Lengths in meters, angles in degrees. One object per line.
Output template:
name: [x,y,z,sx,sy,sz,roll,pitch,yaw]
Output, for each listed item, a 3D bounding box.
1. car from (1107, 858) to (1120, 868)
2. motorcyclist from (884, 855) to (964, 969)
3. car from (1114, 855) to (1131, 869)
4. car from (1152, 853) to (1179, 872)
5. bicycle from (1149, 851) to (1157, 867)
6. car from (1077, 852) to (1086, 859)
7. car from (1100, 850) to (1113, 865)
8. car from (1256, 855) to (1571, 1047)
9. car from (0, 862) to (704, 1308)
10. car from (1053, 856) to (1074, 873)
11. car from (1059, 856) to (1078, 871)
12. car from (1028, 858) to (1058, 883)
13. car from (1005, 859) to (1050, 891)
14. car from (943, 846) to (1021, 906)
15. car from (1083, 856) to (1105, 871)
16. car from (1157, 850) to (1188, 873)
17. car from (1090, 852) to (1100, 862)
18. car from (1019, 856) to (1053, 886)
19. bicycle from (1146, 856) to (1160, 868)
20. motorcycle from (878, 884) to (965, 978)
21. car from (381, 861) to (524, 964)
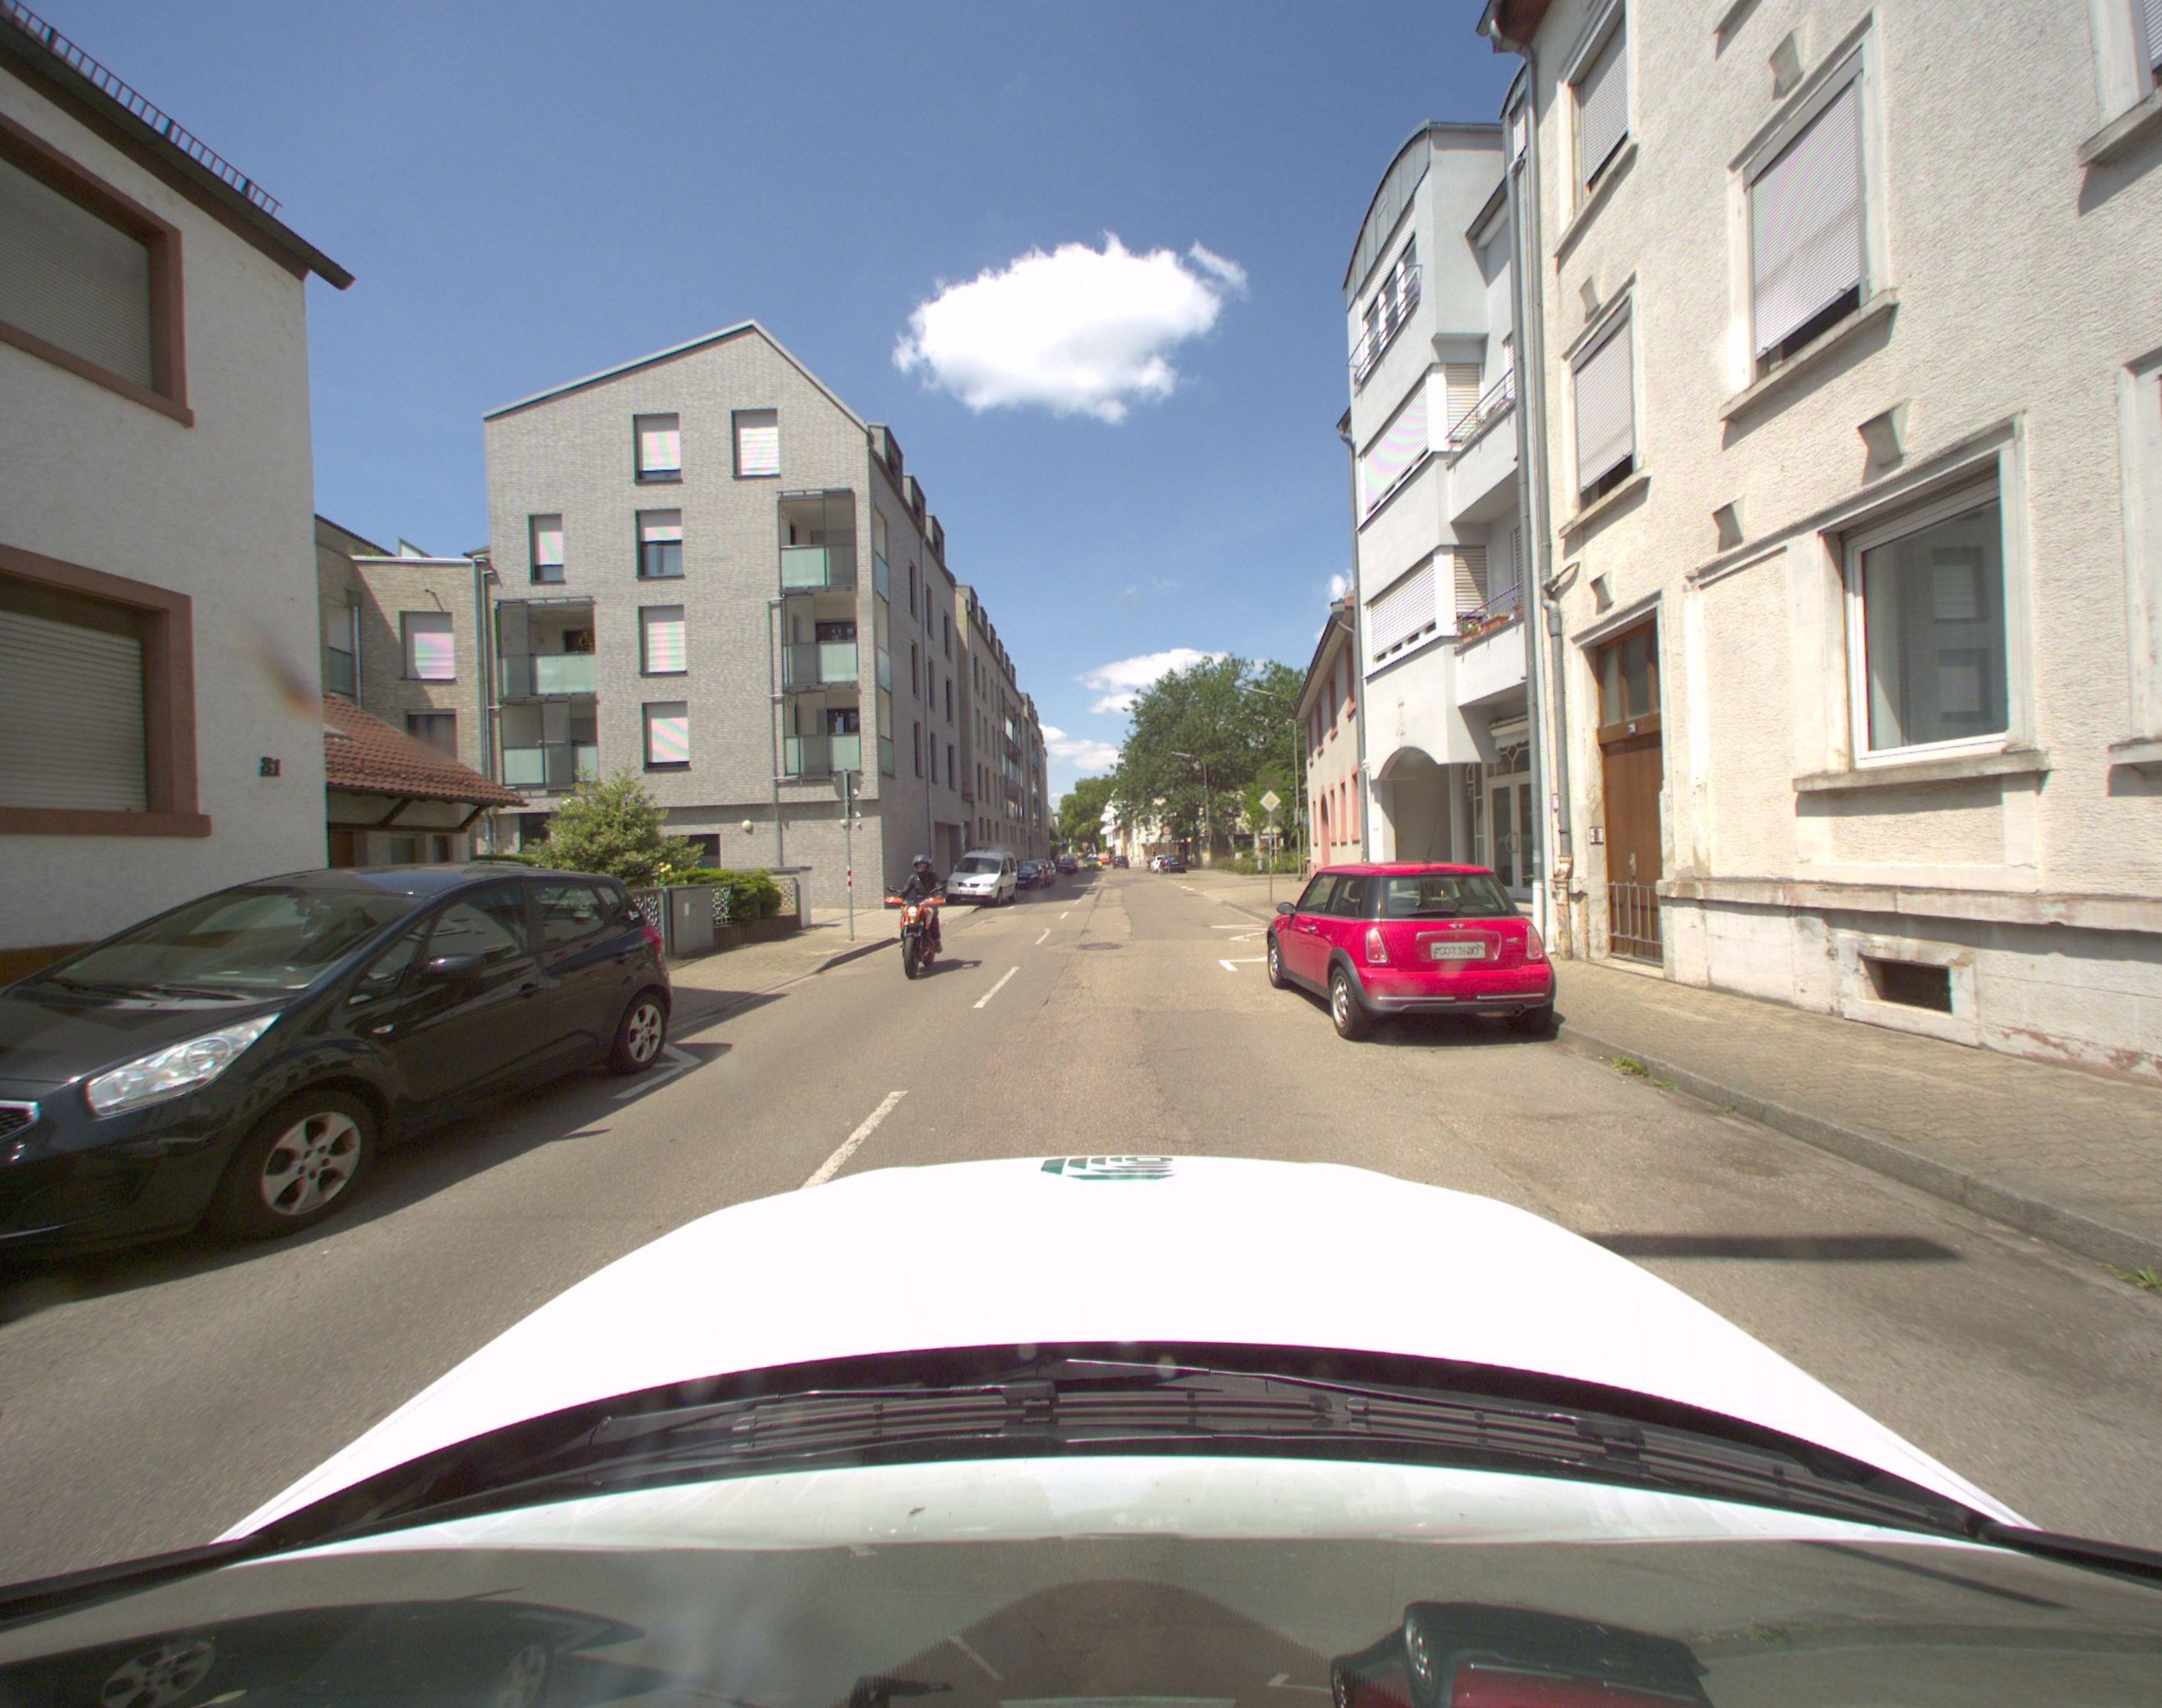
car: [5.609,1.476,140.923,1.987,1.618,4.000,-2,0,0]
motorcyclist: [-2.215,0.788,11.596,0.819,1.509,1.057,-3,0,3]
car: [4.602,0.824,90.555,1.709,1.402,4.002,-3,0,2]
car: [6.671,0.684,64.903,1.773,1.420,4.001,-2,0,1]
bicycle: [6.585,0.441,74.571,0.481,1.490,0.570,-2,-1,-37]
car: [0.163,0.353,230.210,2.149,2.013,4.001,-2,0,1]
car: [3.818,0.500,122.308,1.832,2.013,4.003,-2,0,2]
car: [2.911,0.737,7.956,1.613,1.385,3.538,-2,0,0]
car: [-4.259,0.915,5.092,1.787,1.646,3.948,-1,0,3]
car: [-1.630,0.979,75.783,1.726,1.442,4.001,-2,0,1]
car: [-1.212,0.937,80.789,1.726,1.442,4.001,-2,0,1]
car: [-2.312,0.995,50.313,1.585,1.456,3.704,-1,0,1]
car: [-2.607,1.024,40.613,1.716,1.456,4.008,-1,0,3]
car: [-3.299,0.670,28.000,1.748,1.892,4.344,0,0,6]
car: [1.393,0.957,83.881,1.985,1.381,4.397,0,0,4]
car: [6.479,0.530,58.115,1.686,1.420,4.001,-5,0,1]
car: [2.406,0.523,142.991,1.705,1.634,3.703,-3,0,0]
car: [-2.479,0.908,45.619,1.585,1.554,3.572,-2,0,1]
bicycle: [6.589,0.746,74.582,0.487,1.114,1.182,-2,0,-37]
motorcycle: [-2.232,1.050,11.670,0.685,1.122,2.029,-3,0,3]
car: [-11.151,0.919,14.367,1.648,1.539,3.520,0,0,-43]
